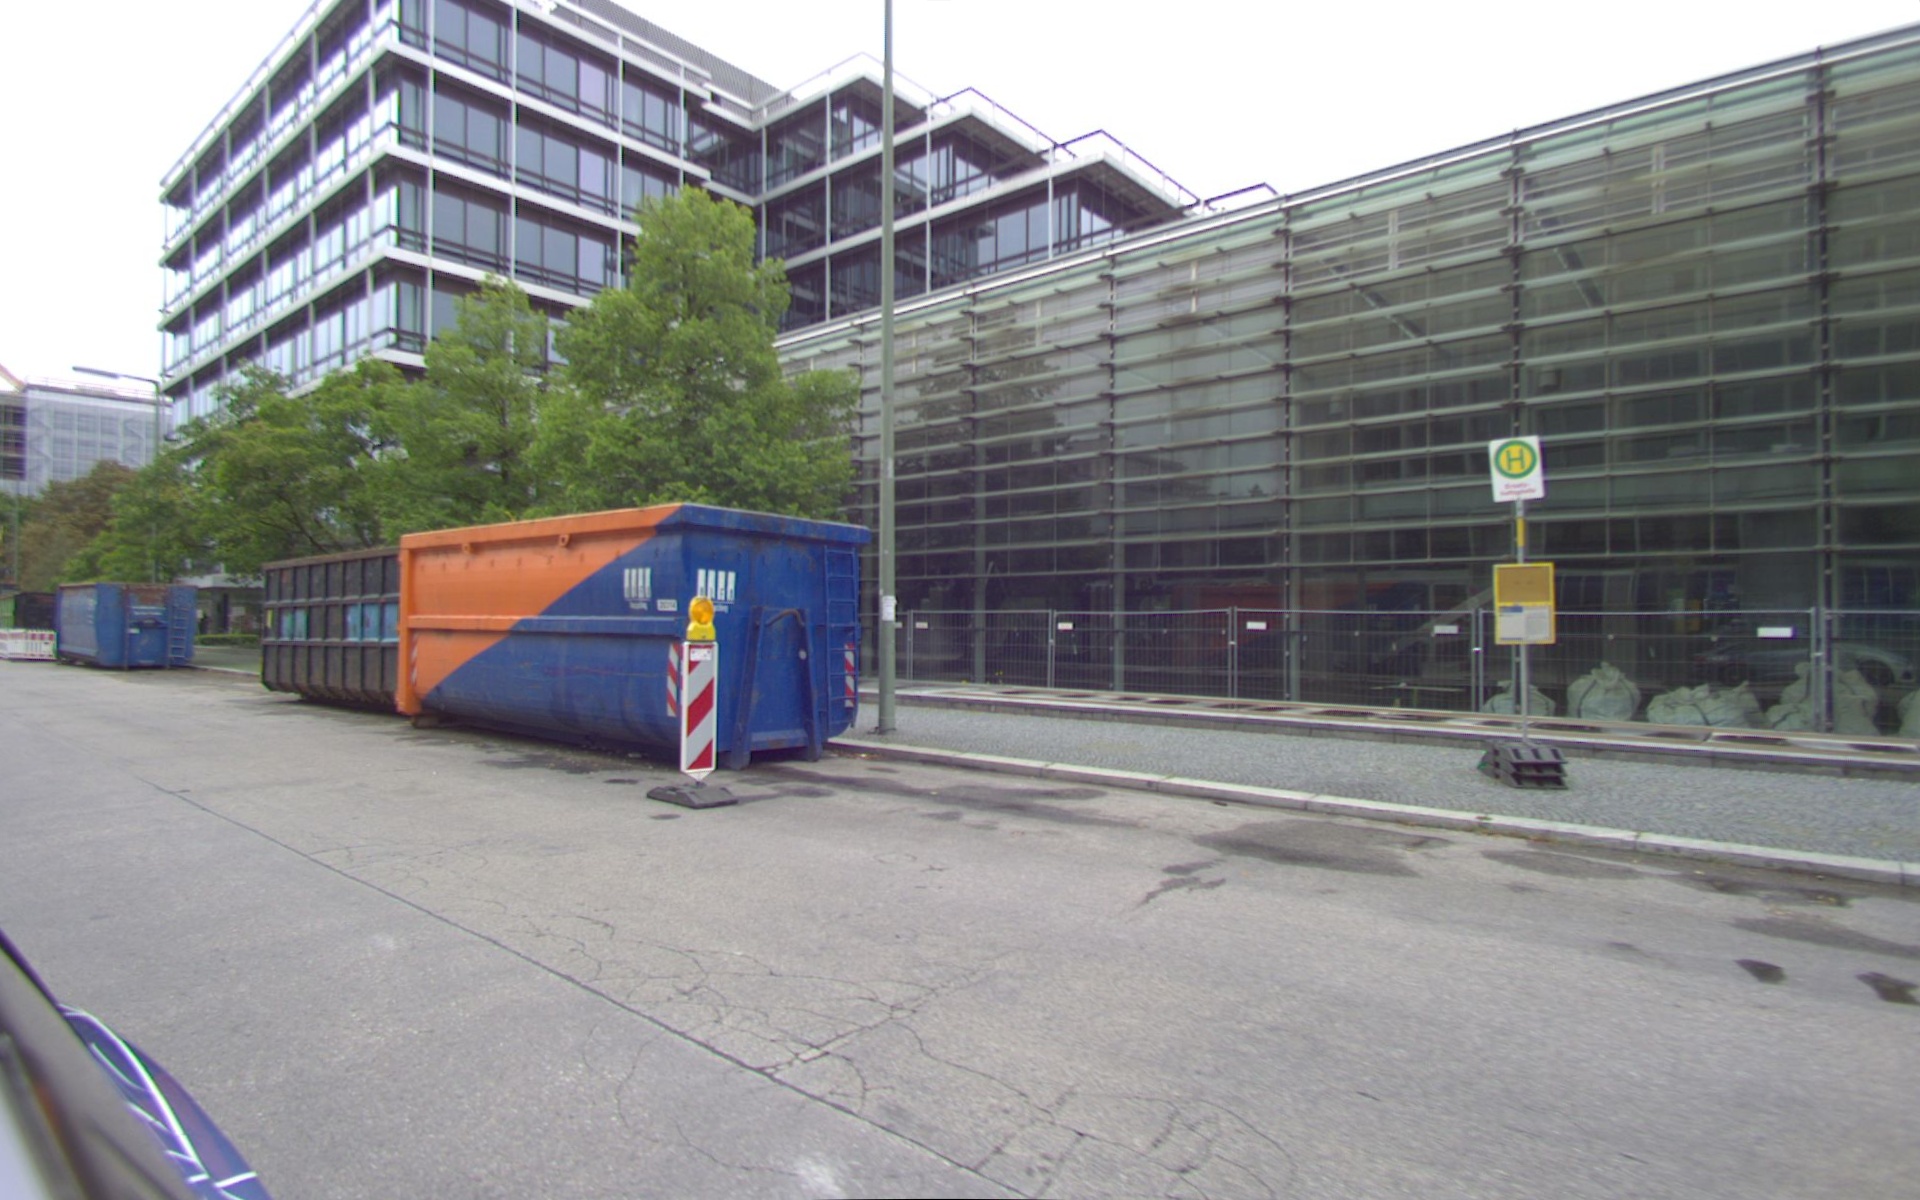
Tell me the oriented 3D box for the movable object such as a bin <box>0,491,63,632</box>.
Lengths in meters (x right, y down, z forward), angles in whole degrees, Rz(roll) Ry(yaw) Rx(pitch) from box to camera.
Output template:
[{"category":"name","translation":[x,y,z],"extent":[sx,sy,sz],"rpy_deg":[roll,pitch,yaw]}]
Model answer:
[{"category":"movable object such as a bin","translation":[-49.156,-1.744,51.980],"extent":[11.776,6.614,2.874],"rpy_deg":[-1,-2,40]}]
